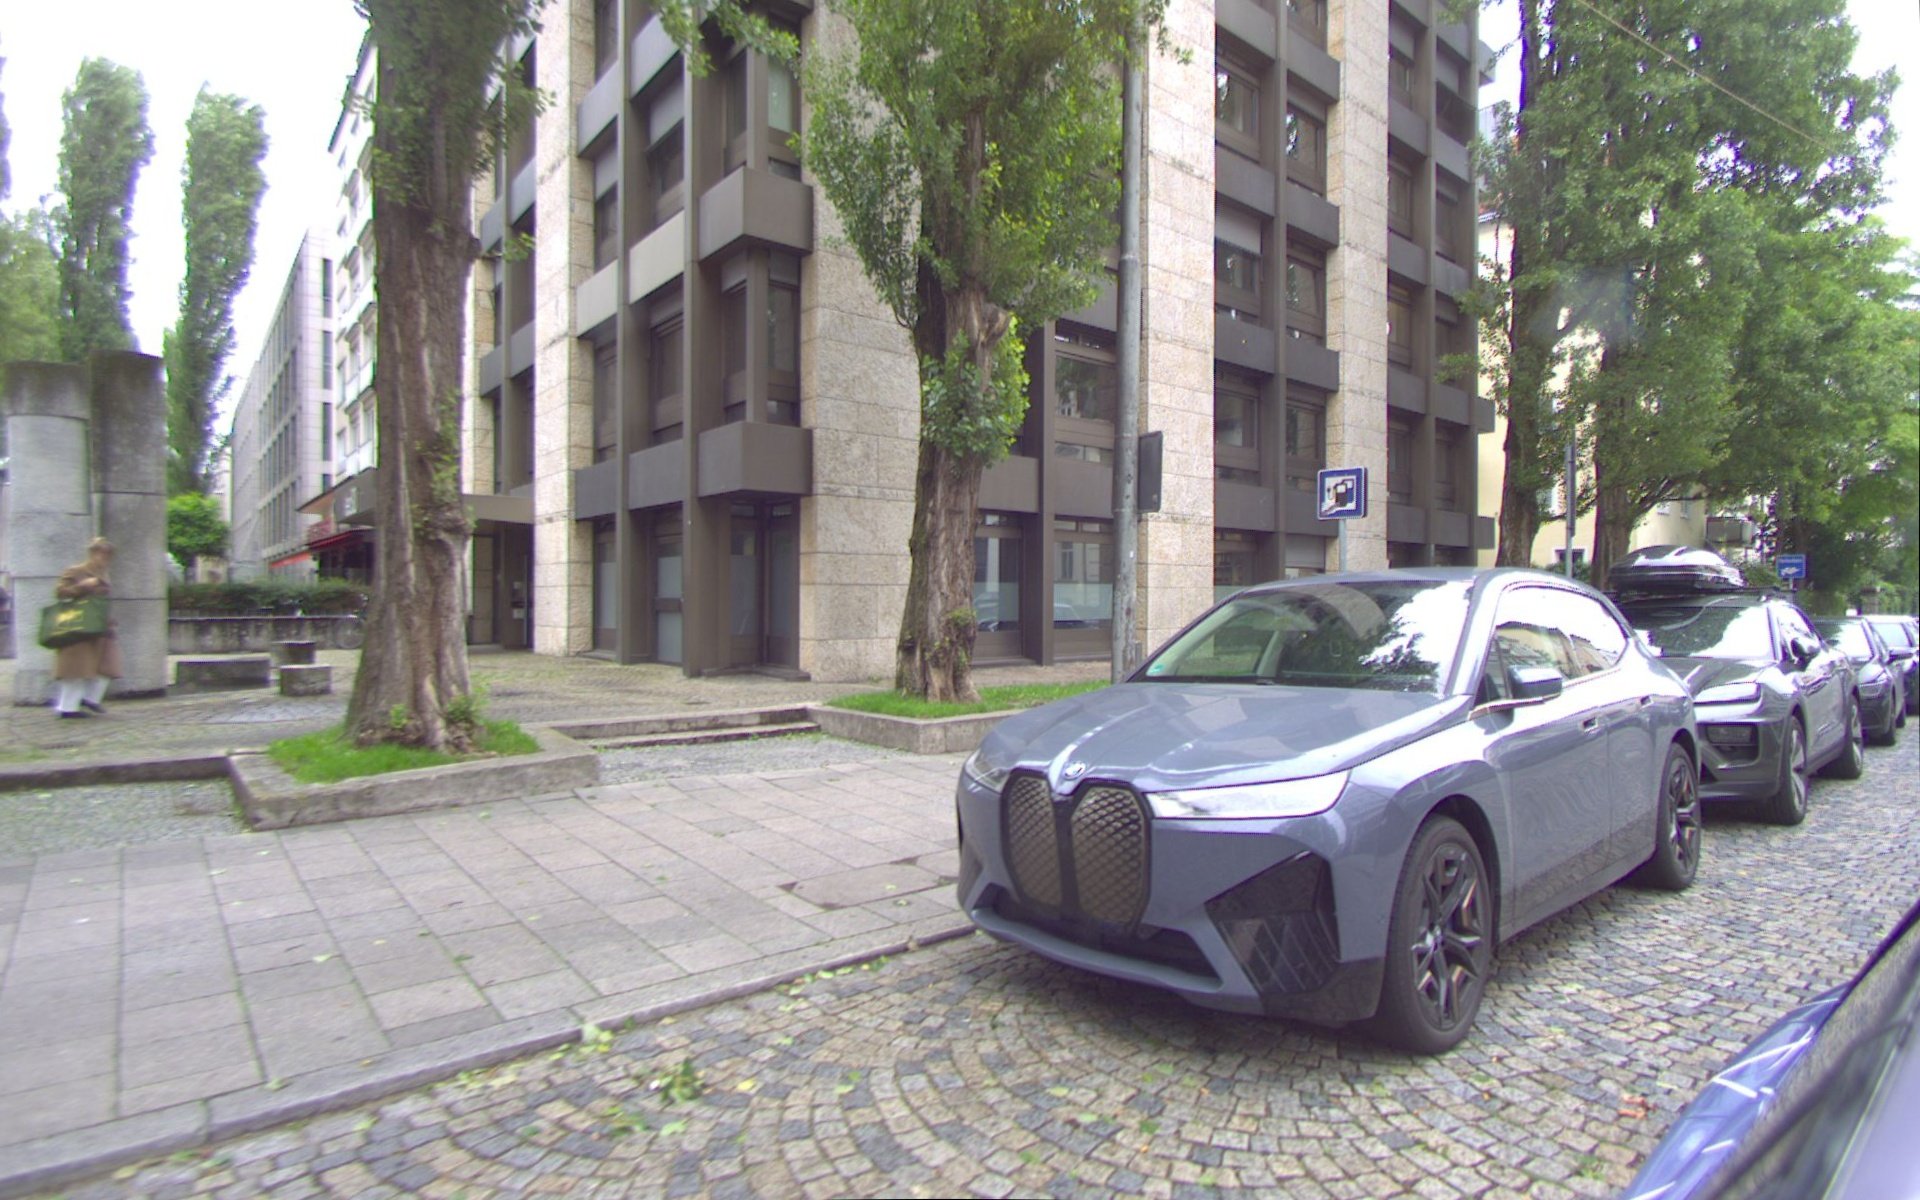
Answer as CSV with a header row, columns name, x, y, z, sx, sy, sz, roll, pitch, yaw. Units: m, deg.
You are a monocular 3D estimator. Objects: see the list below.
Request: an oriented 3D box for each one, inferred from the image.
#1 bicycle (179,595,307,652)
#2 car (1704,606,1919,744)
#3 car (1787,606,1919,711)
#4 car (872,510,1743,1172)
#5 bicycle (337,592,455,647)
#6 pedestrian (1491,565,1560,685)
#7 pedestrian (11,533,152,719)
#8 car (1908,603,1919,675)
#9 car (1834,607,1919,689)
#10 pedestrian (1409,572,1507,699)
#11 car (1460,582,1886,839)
name,x,y,z,sx,sy,sz,roll,pitch,yaw
bicycle,-15.405,0.477,21.778,2.206,1.170,0.647,0,0,-40
car,10.728,0.789,12.589,4.136,1.408,1.720,0,0,-44
car,14.301,0.840,15.746,3.500,1.449,1.603,0,-2,-41
car,2.013,0.625,4.928,4.592,1.722,2.016,0,0,-41
bicycle,-12.547,0.405,22.561,2.206,1.170,0.647,0,0,-40
pedestrian,7.613,0.321,13.625,0.697,1.557,0.644,0,0,-43
pedestrian,-8.060,0.223,9.307,0.699,1.627,0.717,0,0,14
car,22.202,0.806,22.119,3.808,1.518,1.864,0,-1,-43
car,17.927,0.841,18.901,3.808,1.405,1.995,0,-1,-43
pedestrian,7.083,0.480,14.421,0.893,1.735,0.871,0,0,-20
car,6.124,0.691,8.495,4.267,1.603,1.996,0,0,-41
